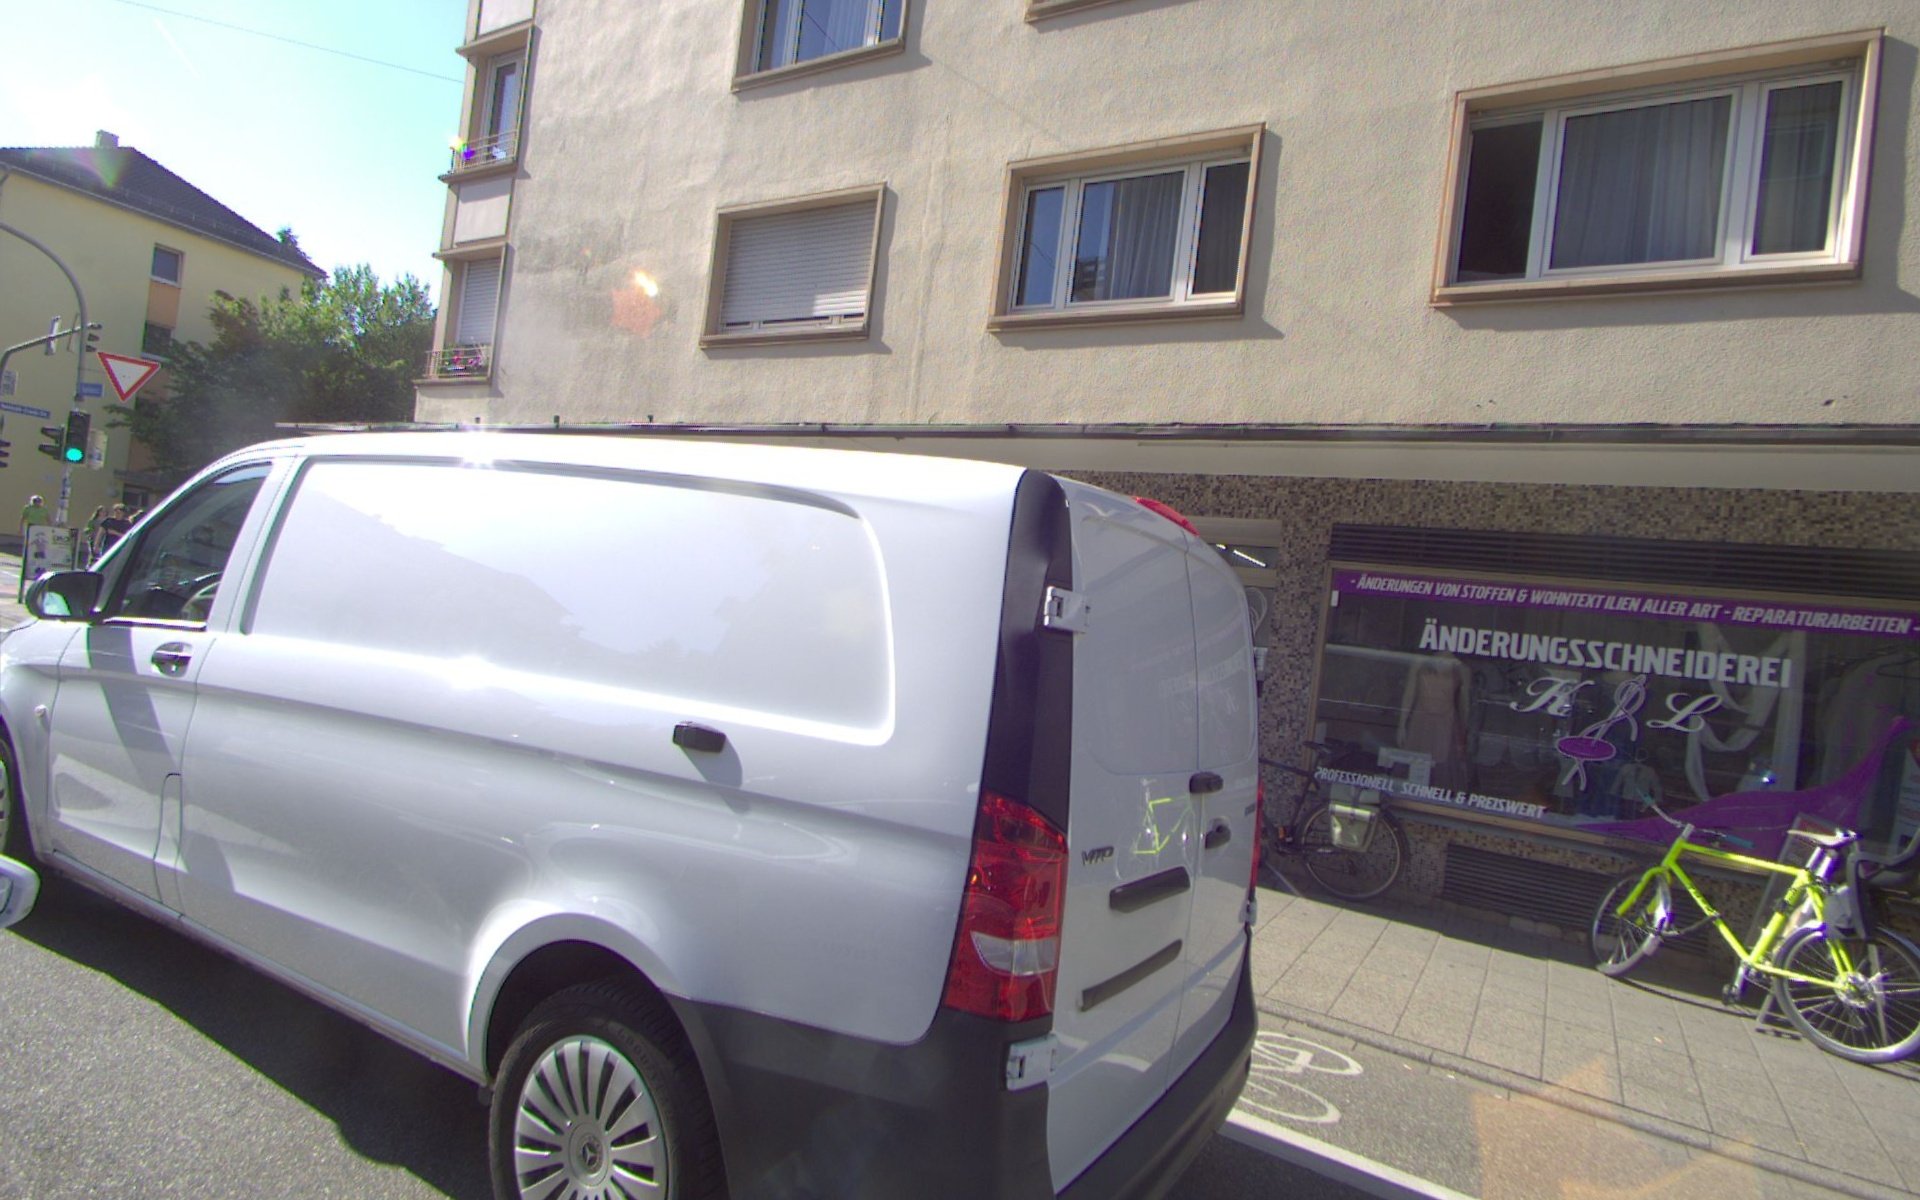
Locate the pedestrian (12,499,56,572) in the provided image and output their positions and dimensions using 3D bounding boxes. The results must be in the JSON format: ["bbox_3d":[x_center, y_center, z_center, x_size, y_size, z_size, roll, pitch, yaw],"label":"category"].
[{"bbox_3d":[-23.840,-1.649,25.904,0.612,1.783,0.526,7,0,30],"label":"pedestrian"}]

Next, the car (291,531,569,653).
[{"bbox_3d":[-9.455,-0.079,18.258,1.795,1.682,3.993,7,-1,32],"label":"car"}]

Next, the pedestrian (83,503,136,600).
[{"bbox_3d":[-17.144,-0.976,20.271,0.620,1.844,0.602,7,0,45],"label":"pedestrian"}]

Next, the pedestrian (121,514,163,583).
[{"bbox_3d":[-20.163,-1.266,24.799,0.530,1.590,0.540,7,0,32],"label":"pedestrian"}]

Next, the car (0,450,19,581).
[{"bbox_3d":[-10.838,-0.624,9.115,4.972,1.962,1.973,6,-3,32],"label":"car"}]

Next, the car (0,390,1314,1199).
[{"bbox_3d":[-1.486,0.465,3.577,4.751,1.832,1.972,6,-1,31],"label":"car"}]

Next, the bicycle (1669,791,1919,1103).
[{"bbox_3d":[4.584,1.706,5.158,0.710,1.120,1.495,7,-1,0],"label":"bicycle"}]

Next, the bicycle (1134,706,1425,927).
[{"bbox_3d":[2.142,1.415,6.920,1.773,1.099,0.406,7,2,37],"label":"bicycle"}]
